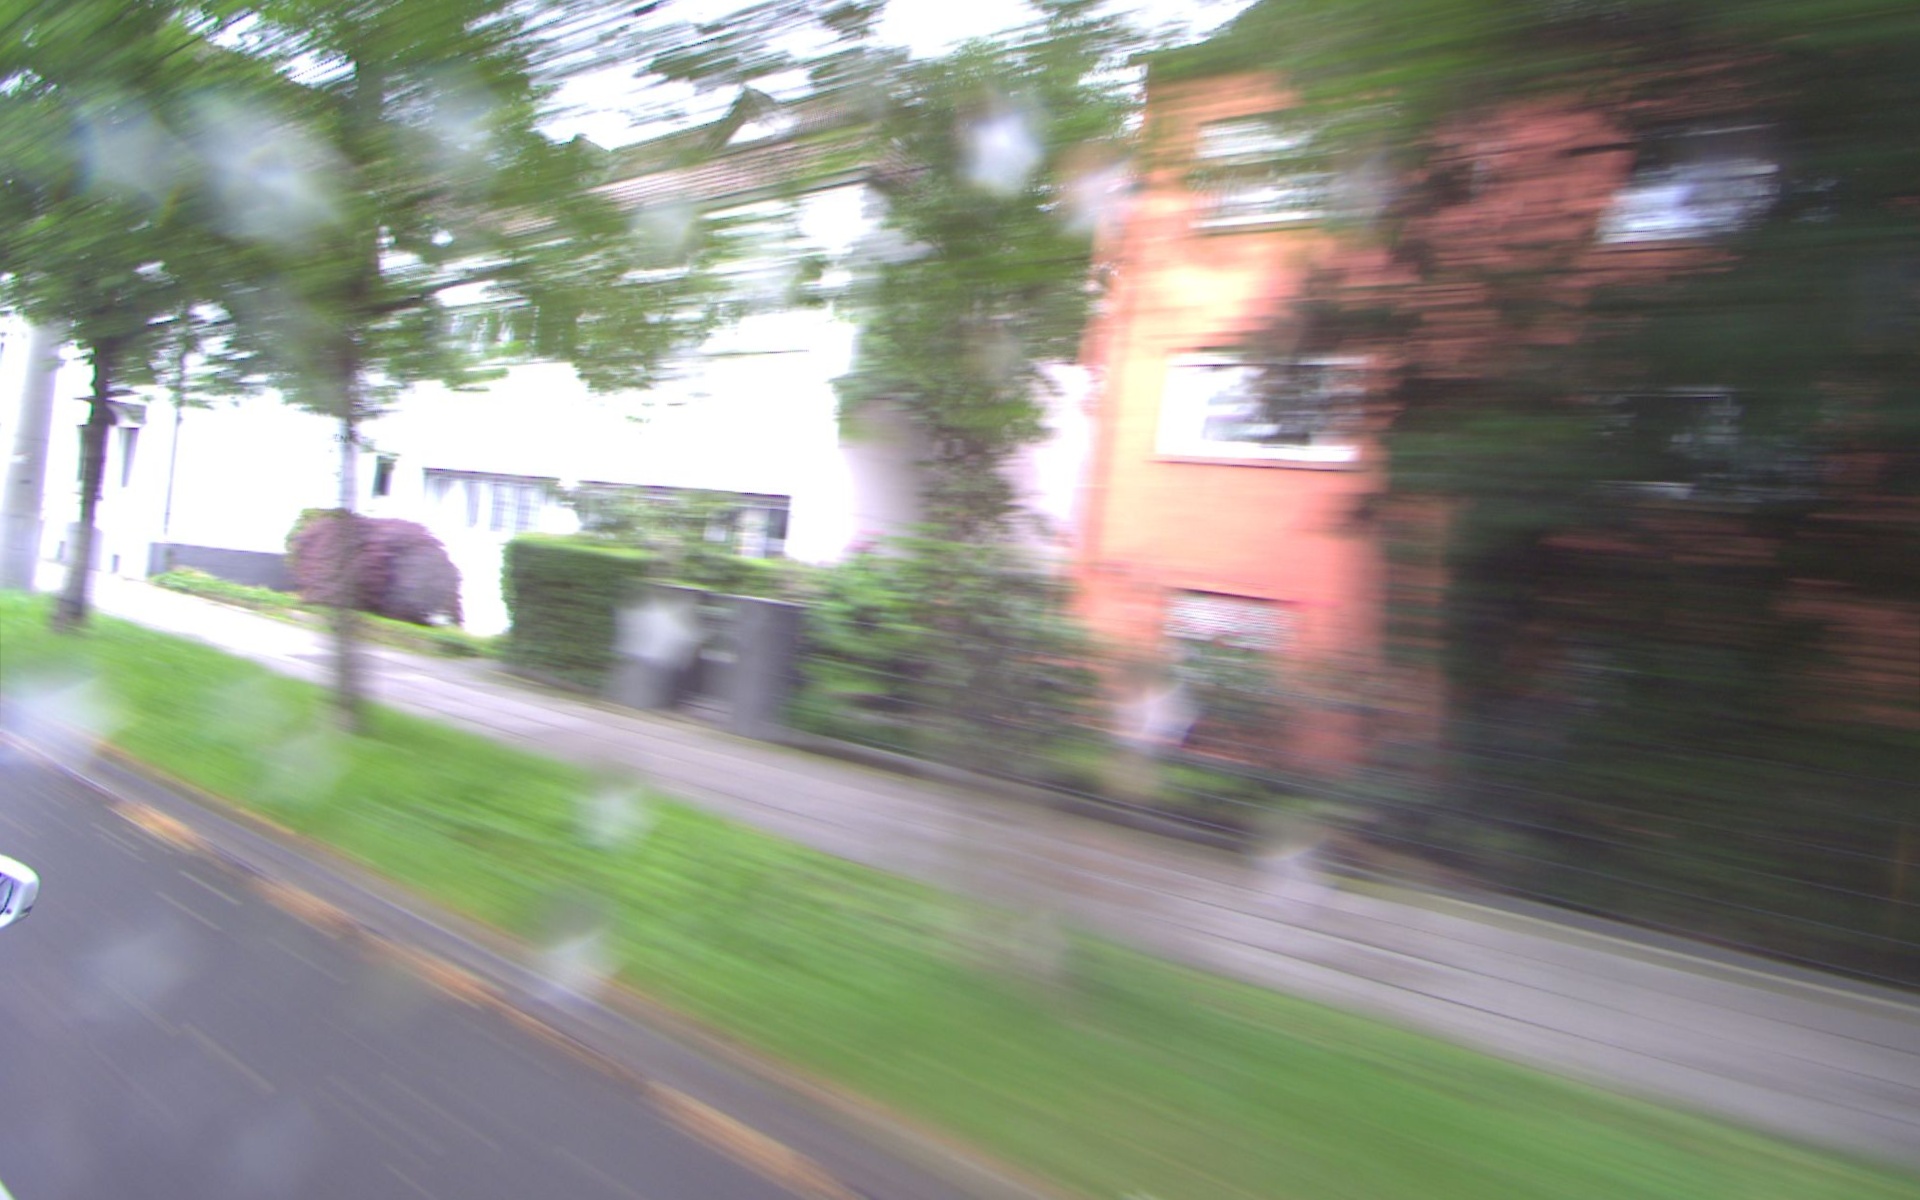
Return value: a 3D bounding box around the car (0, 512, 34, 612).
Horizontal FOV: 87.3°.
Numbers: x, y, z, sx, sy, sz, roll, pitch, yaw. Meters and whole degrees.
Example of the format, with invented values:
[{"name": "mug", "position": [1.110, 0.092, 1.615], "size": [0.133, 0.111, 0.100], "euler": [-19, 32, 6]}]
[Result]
[{"name": "car", "position": [-16.215, -0.800, 15.714], "size": [4.496, 1.439, 1.678], "euler": [6, -2, 37]}]
